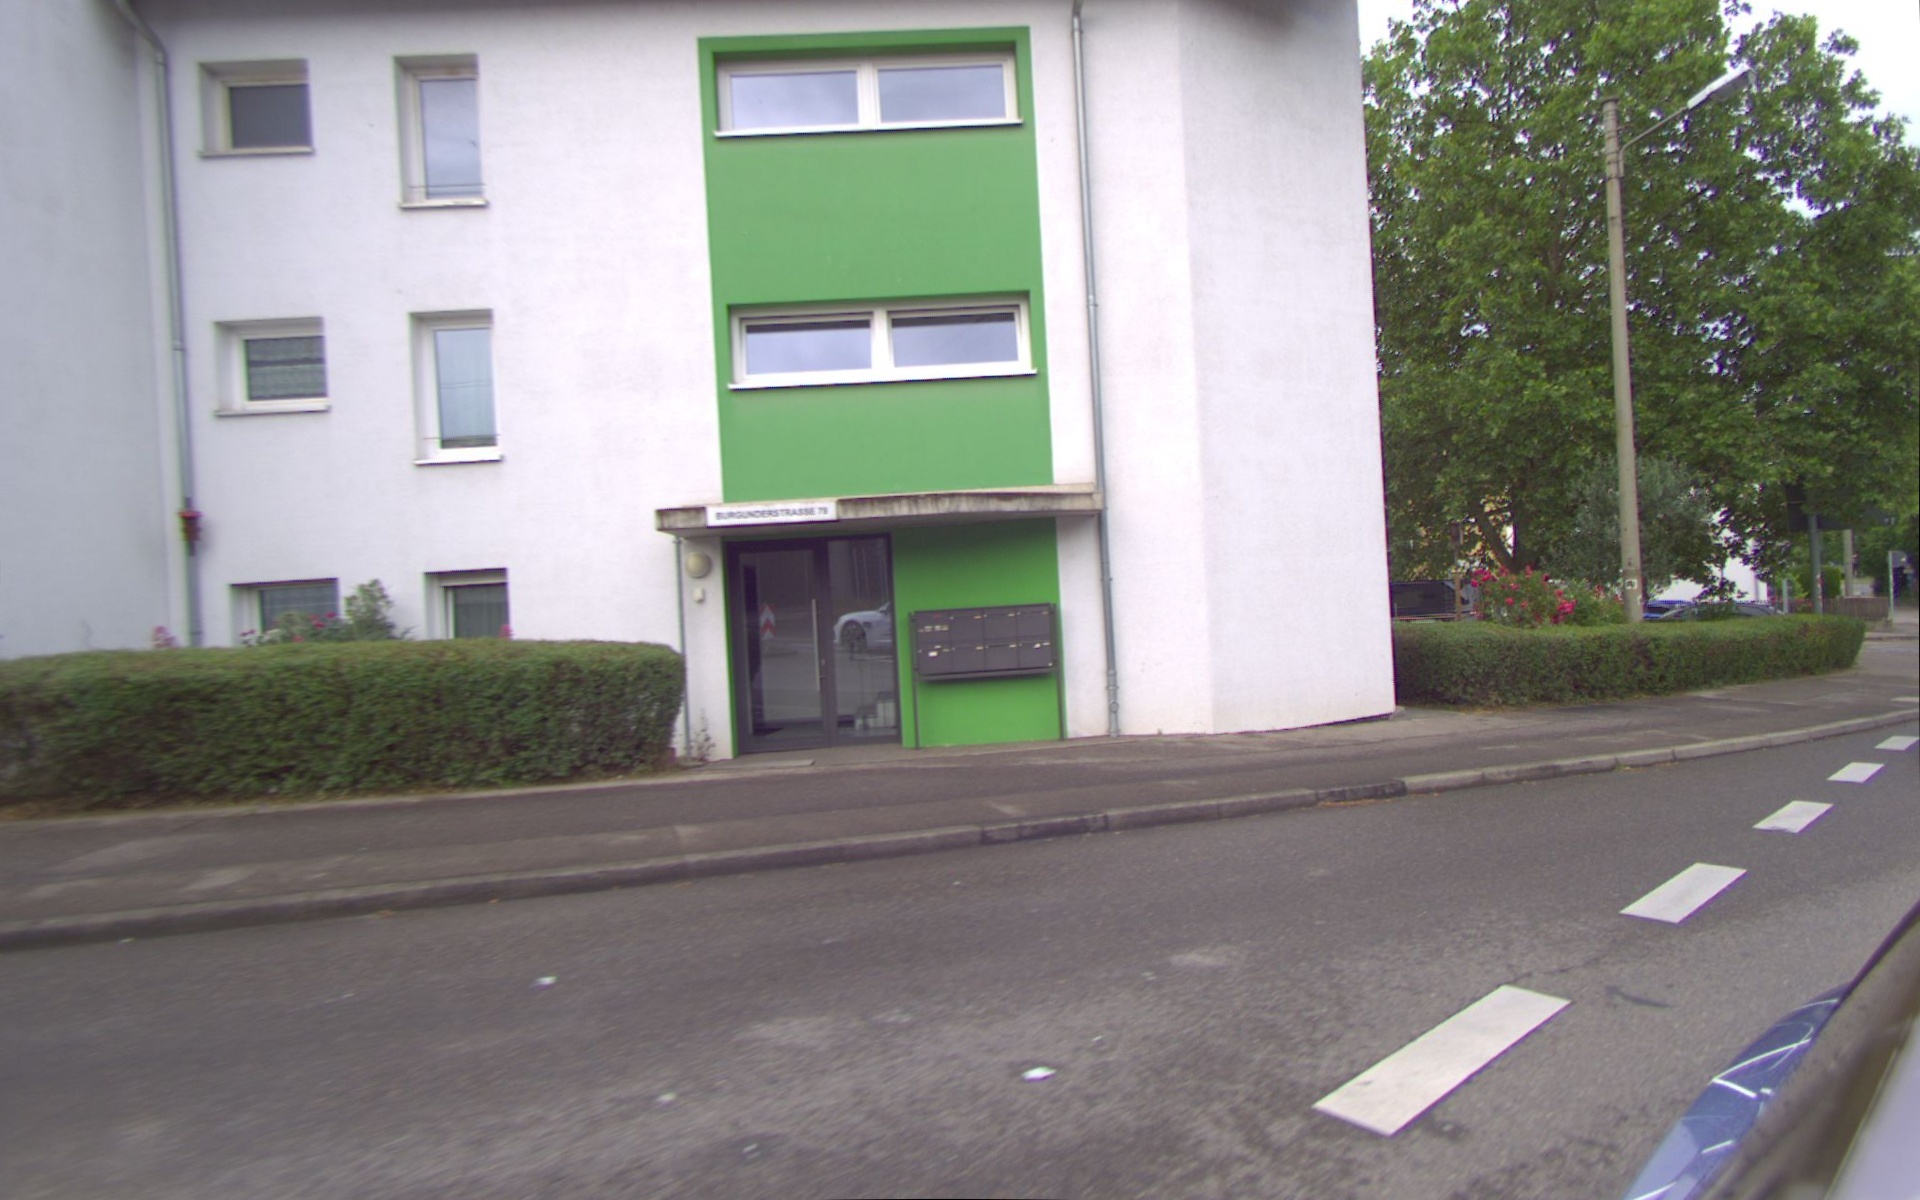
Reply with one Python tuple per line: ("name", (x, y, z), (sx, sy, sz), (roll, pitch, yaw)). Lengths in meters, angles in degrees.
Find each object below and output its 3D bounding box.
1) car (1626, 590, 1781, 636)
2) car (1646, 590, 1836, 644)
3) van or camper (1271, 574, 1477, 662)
("car", (25.162, 0.453, 34.427), (3.963, 1.482, 1.842), (-1, 0, 29))
("car", (24.088, 0.540, 31.464), (4.354, 1.533, 1.979), (-2, -1, 30))
("van or camper", (9.823, 0.447, 24.080), (4.290, 1.928, 1.979), (-2, -1, 30))
